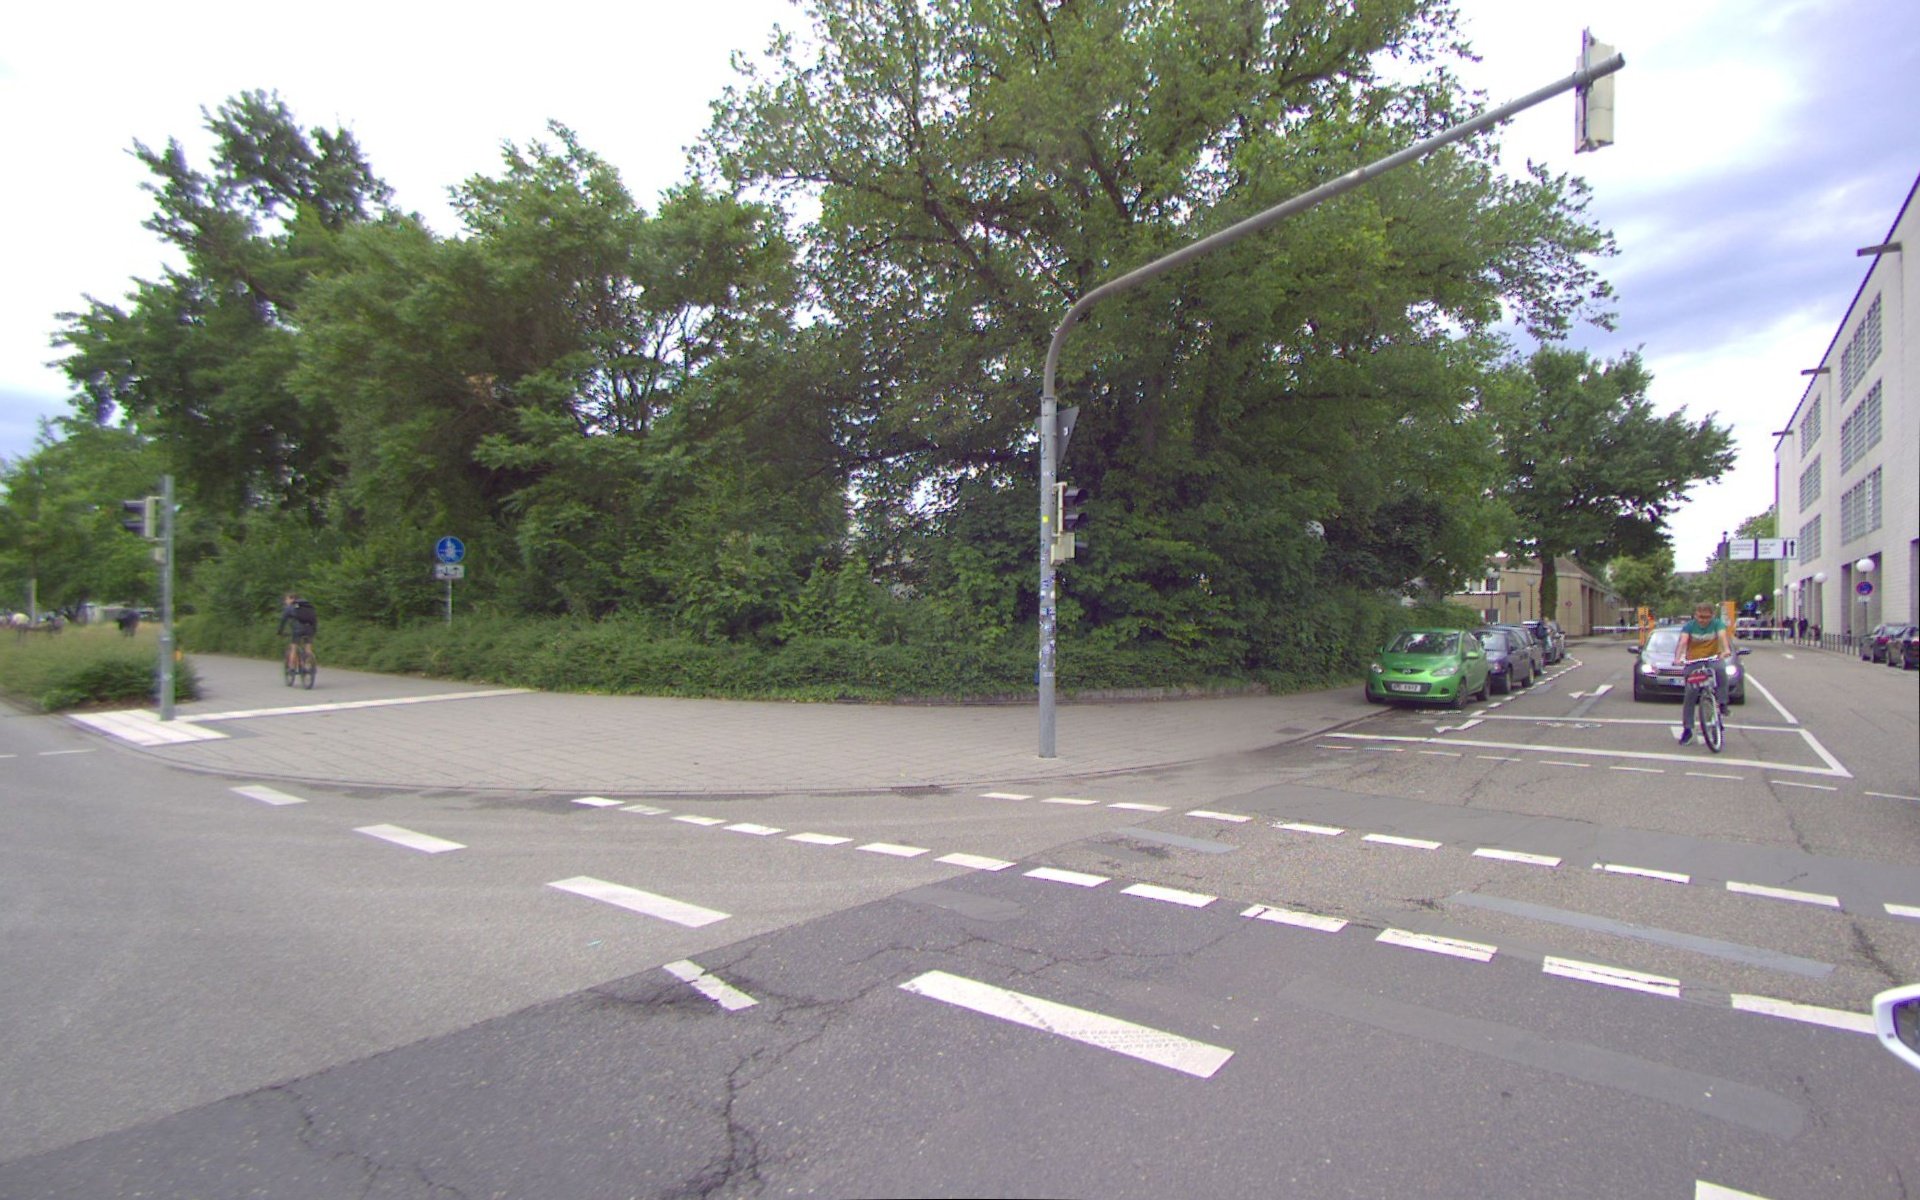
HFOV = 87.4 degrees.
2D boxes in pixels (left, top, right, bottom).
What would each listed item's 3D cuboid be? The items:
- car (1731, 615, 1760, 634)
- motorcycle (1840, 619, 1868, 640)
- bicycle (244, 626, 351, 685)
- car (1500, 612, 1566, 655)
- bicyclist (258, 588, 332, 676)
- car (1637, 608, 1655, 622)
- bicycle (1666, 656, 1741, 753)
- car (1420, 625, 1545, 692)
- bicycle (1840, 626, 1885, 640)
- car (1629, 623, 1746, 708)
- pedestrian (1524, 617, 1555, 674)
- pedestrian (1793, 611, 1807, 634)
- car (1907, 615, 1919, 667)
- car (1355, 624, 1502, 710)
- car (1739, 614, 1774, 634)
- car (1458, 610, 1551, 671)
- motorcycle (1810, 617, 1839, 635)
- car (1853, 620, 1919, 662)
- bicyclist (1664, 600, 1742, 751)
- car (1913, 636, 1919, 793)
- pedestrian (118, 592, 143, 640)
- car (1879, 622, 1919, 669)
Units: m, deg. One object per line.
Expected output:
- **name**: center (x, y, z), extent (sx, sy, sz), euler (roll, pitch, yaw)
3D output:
- **car**: center (75.615, 2.327, 96.683), extent (1.968, 1.805, 4.413), euler (-1, -1, 36)
- **motorcycle**: center (53.670, 1.744, 60.280), extent (2.190, 1.164, 0.563), euler (-1, 3, -30)
- **bicycle**: center (-12.794, 1.048, 19.415), extent (1.828, 1.051, 0.783), euler (1, 1, 20)
- **car**: center (20.894, 1.182, 36.570), extent (1.739, 1.430, 3.996), euler (1, 0, 35)
- **bicyclist**: center (-12.856, 0.599, 19.432), extent (0.905, 1.630, 0.767), euler (1, 2, 20)
- **car**: center (82.427, 1.813, 120.662), extent (1.746, 1.622, 3.988), euler (1, 0, 34)
- **bicycle**: center (9.282, 1.260, 12.587), extent (0.648, 1.051, 1.852), euler (0, -1, 33)
- **car**: center (12.514, 1.318, 23.928), extent (1.776, 1.427, 4.316), euler (0, -1, 40)
- **bicycle**: center (51.828, 1.895, 57.704), extent (1.870, 0.708, 0.491), euler (2, 3, 33)
- **car**: center (14.669, 1.230, 20.315), extent (1.760, 1.517, 4.153), euler (0, -1, 36)
- **pedestrian**: center (17.634, 1.369, 30.568), extent (0.729, 1.684, 0.964), euler (0, 0, 36)
- **pedestrian**: center (63.129, 1.684, 75.488), extent (0.717, 1.722, 0.587), euler (2, 3, 31)
- **car**: center (29.064, 1.251, 29.142), extent (1.825, 1.461, 4.401), euler (1, 1, 37)
- **car**: center (9.422, 1.235, 20.035), extent (1.775, 1.489, 4.231), euler (0, -1, 38)
- **car**: center (65.746, 1.982, 82.945), extent (1.967, 1.644, 4.413), euler (0, -2, 35)
- **car**: center (15.612, 1.088, 28.700), extent (1.774, 1.582, 4.514), euler (0, 0, 36)
- **motorcycle**: center (63.383, 1.905, 73.653), extent (2.630, 1.164, 0.756), euler (-1, 3, -30)
- **car**: center (35.286, 1.515, 37.832), extent (1.968, 1.471, 4.905), euler (0, -1, 36)
- **bicyclist**: center (9.291, 0.904, 12.592), extent (0.647, 1.803, 0.982), euler (0, -1, 29)
- **car**: center (8.605, 1.059, 7.527), extent (1.761, 1.438, 4.111), euler (1, 0, 39)
- **pedestrian**: center (-29.362, 0.560, 35.550), extent (0.637, 1.687, 0.799), euler (1, -1, -41)
- **car**: center (31.904, 1.460, 33.102), extent (1.794, 1.462, 4.506), euler (-1, -1, 35)
